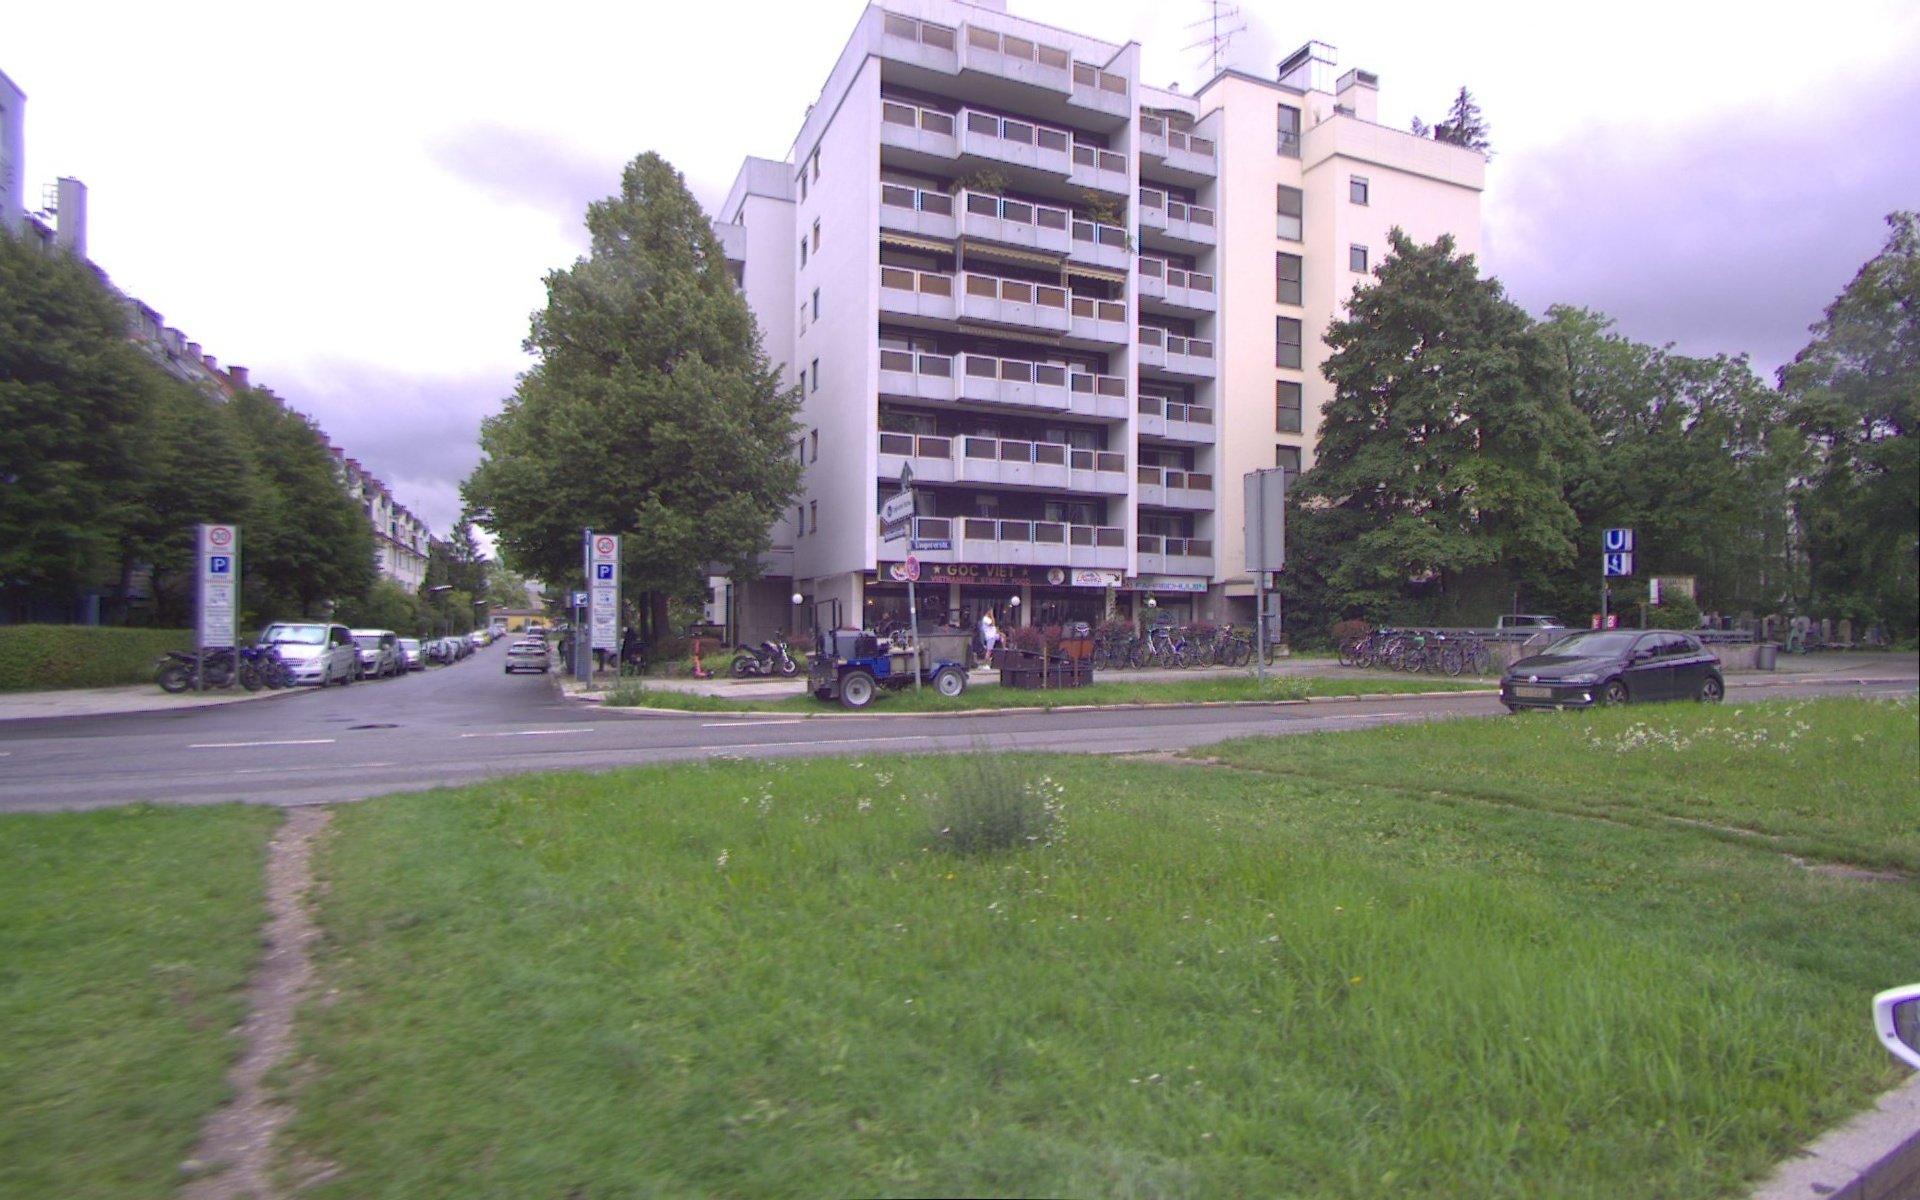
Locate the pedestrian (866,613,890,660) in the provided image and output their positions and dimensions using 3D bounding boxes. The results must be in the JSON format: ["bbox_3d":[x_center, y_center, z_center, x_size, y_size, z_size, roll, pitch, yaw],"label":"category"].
[{"bbox_3d":[-2.883,1.281,35.394,0.659,1.606,0.655,1,-1,-26],"label":"pedestrian"}]

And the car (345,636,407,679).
[{"bbox_3d":[-25.010,2.434,43.166,1.974,1.704,3.974,1,-2,-26],"label":"car"}]

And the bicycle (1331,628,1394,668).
[{"bbox_3d":[11.646,1.375,29.032,1.926,1.112,0.407,1,3,-23],"label":"bicycle"}]

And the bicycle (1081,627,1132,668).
[{"bbox_3d":[4.147,1.325,28.567,0.551,1.118,1.945,1,-1,-21],"label":"bicycle"}]

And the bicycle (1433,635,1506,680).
[{"bbox_3d":[13.195,1.472,25.977,2.054,1.104,0.407,1,3,-23],"label":"bicycle"}]

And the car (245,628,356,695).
[{"bbox_3d":[-18.774,1.678,28.821,1.973,1.704,5.086,1,-2,-26],"label":"car"}]

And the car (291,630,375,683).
[{"bbox_3d":[-21.492,1.887,34.600,1.974,1.704,4.234,1,-2,-26],"label":"car"}]

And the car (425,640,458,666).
[{"bbox_3d":[-35.631,3.615,69.097,1.911,1.614,3.974,1,-2,-26],"label":"car"}]

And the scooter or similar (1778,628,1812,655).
[{"bbox_3d":[36.391,1.806,43.779,1.267,1.142,0.435,0,-1,-13],"label":"scooter or similar"}]

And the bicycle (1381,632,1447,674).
[{"bbox_3d":[12.454,1.448,27.557,1.926,1.087,0.407,1,3,-23],"label":"bicycle"}]

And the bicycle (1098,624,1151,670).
[{"bbox_3d":[4.689,1.321,28.773,0.551,1.118,1.944,1,3,-21],"label":"bicycle"}]

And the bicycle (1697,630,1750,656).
[{"bbox_3d":[31.568,1.761,41.549,0.430,1.020,1.757,1,-1,-24],"label":"bicycle"}]

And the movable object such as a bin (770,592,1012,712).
[{"bbox_3d":[-1.266,0.913,18.661,3.954,1.979,2.182,1,-1,-31],"label":"movable object such as a bin"}]

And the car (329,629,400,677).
[{"bbox_3d":[-22.898,1.988,38.749,1.974,1.704,4.234,1,-2,-26],"label":"car"}]

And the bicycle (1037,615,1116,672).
[{"bbox_3d":[3.278,1.206,28.801,0.776,1.300,3.321,1,3,-21],"label":"bicycle"}]

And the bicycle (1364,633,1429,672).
[{"bbox_3d":[12.205,1.456,28.087,1.926,1.044,0.407,1,3,-23],"label":"bicycle"}]

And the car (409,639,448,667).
[{"bbox_3d":[-31.850,3.145,60.271,1.911,1.614,3.974,1,-2,-26],"label":"car"}]

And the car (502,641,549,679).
[{"bbox_3d":[-20.329,2.756,46.960,1.850,1.646,3.974,1,-2,-26],"label":"car"}]

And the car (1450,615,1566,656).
[{"bbox_3d":[22.283,1.428,40.982,1.724,1.610,3.978,1,-1,-23],"label":"car"}]

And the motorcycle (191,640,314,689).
[{"bbox_3d":[-17.486,1.575,24.904,0.490,1.148,2.469,-1,-2,36],"label":"motorcycle"}]

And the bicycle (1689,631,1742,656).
[{"bbox_3d":[31.042,1.771,41.291,0.430,1.020,1.757,1,-1,-24],"label":"bicycle"}]

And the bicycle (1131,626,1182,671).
[{"bbox_3d":[5.681,1.384,29.143,0.482,1.118,1.944,1,3,-21],"label":"bicycle"}]

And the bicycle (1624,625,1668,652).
[{"bbox_3d":[28.511,1.603,41.728,2.004,1.114,0.577,1,-1,-25],"label":"bicycle"}]

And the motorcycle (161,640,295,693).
[{"bbox_3d":[-17.025,1.520,23.432,0.490,1.148,2.468,-1,-2,38],"label":"motorcycle"}]

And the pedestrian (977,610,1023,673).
[{"bbox_3d":[1.127,1.171,28.413,1.118,1.731,0.665,1,-1,-31],"label":"pedestrian"}]

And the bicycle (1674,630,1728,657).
[{"bbox_3d":[29.815,1.741,40.421,0.430,1.020,1.757,1,-1,-24],"label":"bicycle"}]

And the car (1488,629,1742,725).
[{"bbox_3d":[10.936,1.208,16.749,4.049,1.424,1.776,1,-2,-27],"label":"car"}]

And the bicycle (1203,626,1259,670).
[{"bbox_3d":[8.108,1.411,30.090,0.551,1.118,1.944,1,3,-21],"label":"bicycle"}]

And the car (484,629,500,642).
[{"bbox_3d":[-62.643,4.727,134.391,1.911,1.614,3.974,1,-2,-26],"label":"car"}]

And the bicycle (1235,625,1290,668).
[{"bbox_3d":[9.149,1.389,30.483,0.482,1.118,1.944,1,3,-21],"label":"bicycle"}]

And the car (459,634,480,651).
[{"bbox_3d":[-50.697,4.382,103.851,1.911,1.614,3.974,1,-2,-26],"label":"car"}]

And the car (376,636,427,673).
[{"bbox_3d":[-27.774,2.683,50.071,1.974,1.704,3.974,1,-2,-26],"label":"car"}]

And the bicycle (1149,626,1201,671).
[{"bbox_3d":[6.264,1.384,29.344,0.482,1.118,1.944,1,3,-21],"label":"bicycle"}]

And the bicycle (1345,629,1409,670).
[{"bbox_3d":[11.861,1.398,28.563,1.926,1.119,0.407,1,3,-23],"label":"bicycle"}]

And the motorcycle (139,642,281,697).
[{"bbox_3d":[-16.603,1.508,22.301,0.491,1.148,2.464,-1,-2,43],"label":"motorcycle"}]

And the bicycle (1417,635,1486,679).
[{"bbox_3d":[12.940,1.500,26.441,1.926,1.092,0.407,1,3,-23],"label":"bicycle"}]

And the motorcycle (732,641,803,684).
[{"bbox_3d":[-4.947,1.608,25.866,1.748,1.101,0.419,0,-1,1],"label":"motorcycle"}]

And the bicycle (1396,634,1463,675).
[{"bbox_3d":[12.630,1.459,27.031,1.926,1.054,0.407,1,3,-23],"label":"bicycle"}]

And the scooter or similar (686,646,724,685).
[{"bbox_3d":[-6.748,1.722,26.537,1.135,0.971,0.441,-1,-2,44],"label":"scooter or similar"}]

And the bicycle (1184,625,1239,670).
[{"bbox_3d":[7.475,1.395,29.913,0.551,1.118,1.944,1,3,-21],"label":"bicycle"}]

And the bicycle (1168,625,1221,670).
[{"bbox_3d":[6.892,1.379,29.602,0.482,1.118,1.944,1,3,-21],"label":"bicycle"}]
